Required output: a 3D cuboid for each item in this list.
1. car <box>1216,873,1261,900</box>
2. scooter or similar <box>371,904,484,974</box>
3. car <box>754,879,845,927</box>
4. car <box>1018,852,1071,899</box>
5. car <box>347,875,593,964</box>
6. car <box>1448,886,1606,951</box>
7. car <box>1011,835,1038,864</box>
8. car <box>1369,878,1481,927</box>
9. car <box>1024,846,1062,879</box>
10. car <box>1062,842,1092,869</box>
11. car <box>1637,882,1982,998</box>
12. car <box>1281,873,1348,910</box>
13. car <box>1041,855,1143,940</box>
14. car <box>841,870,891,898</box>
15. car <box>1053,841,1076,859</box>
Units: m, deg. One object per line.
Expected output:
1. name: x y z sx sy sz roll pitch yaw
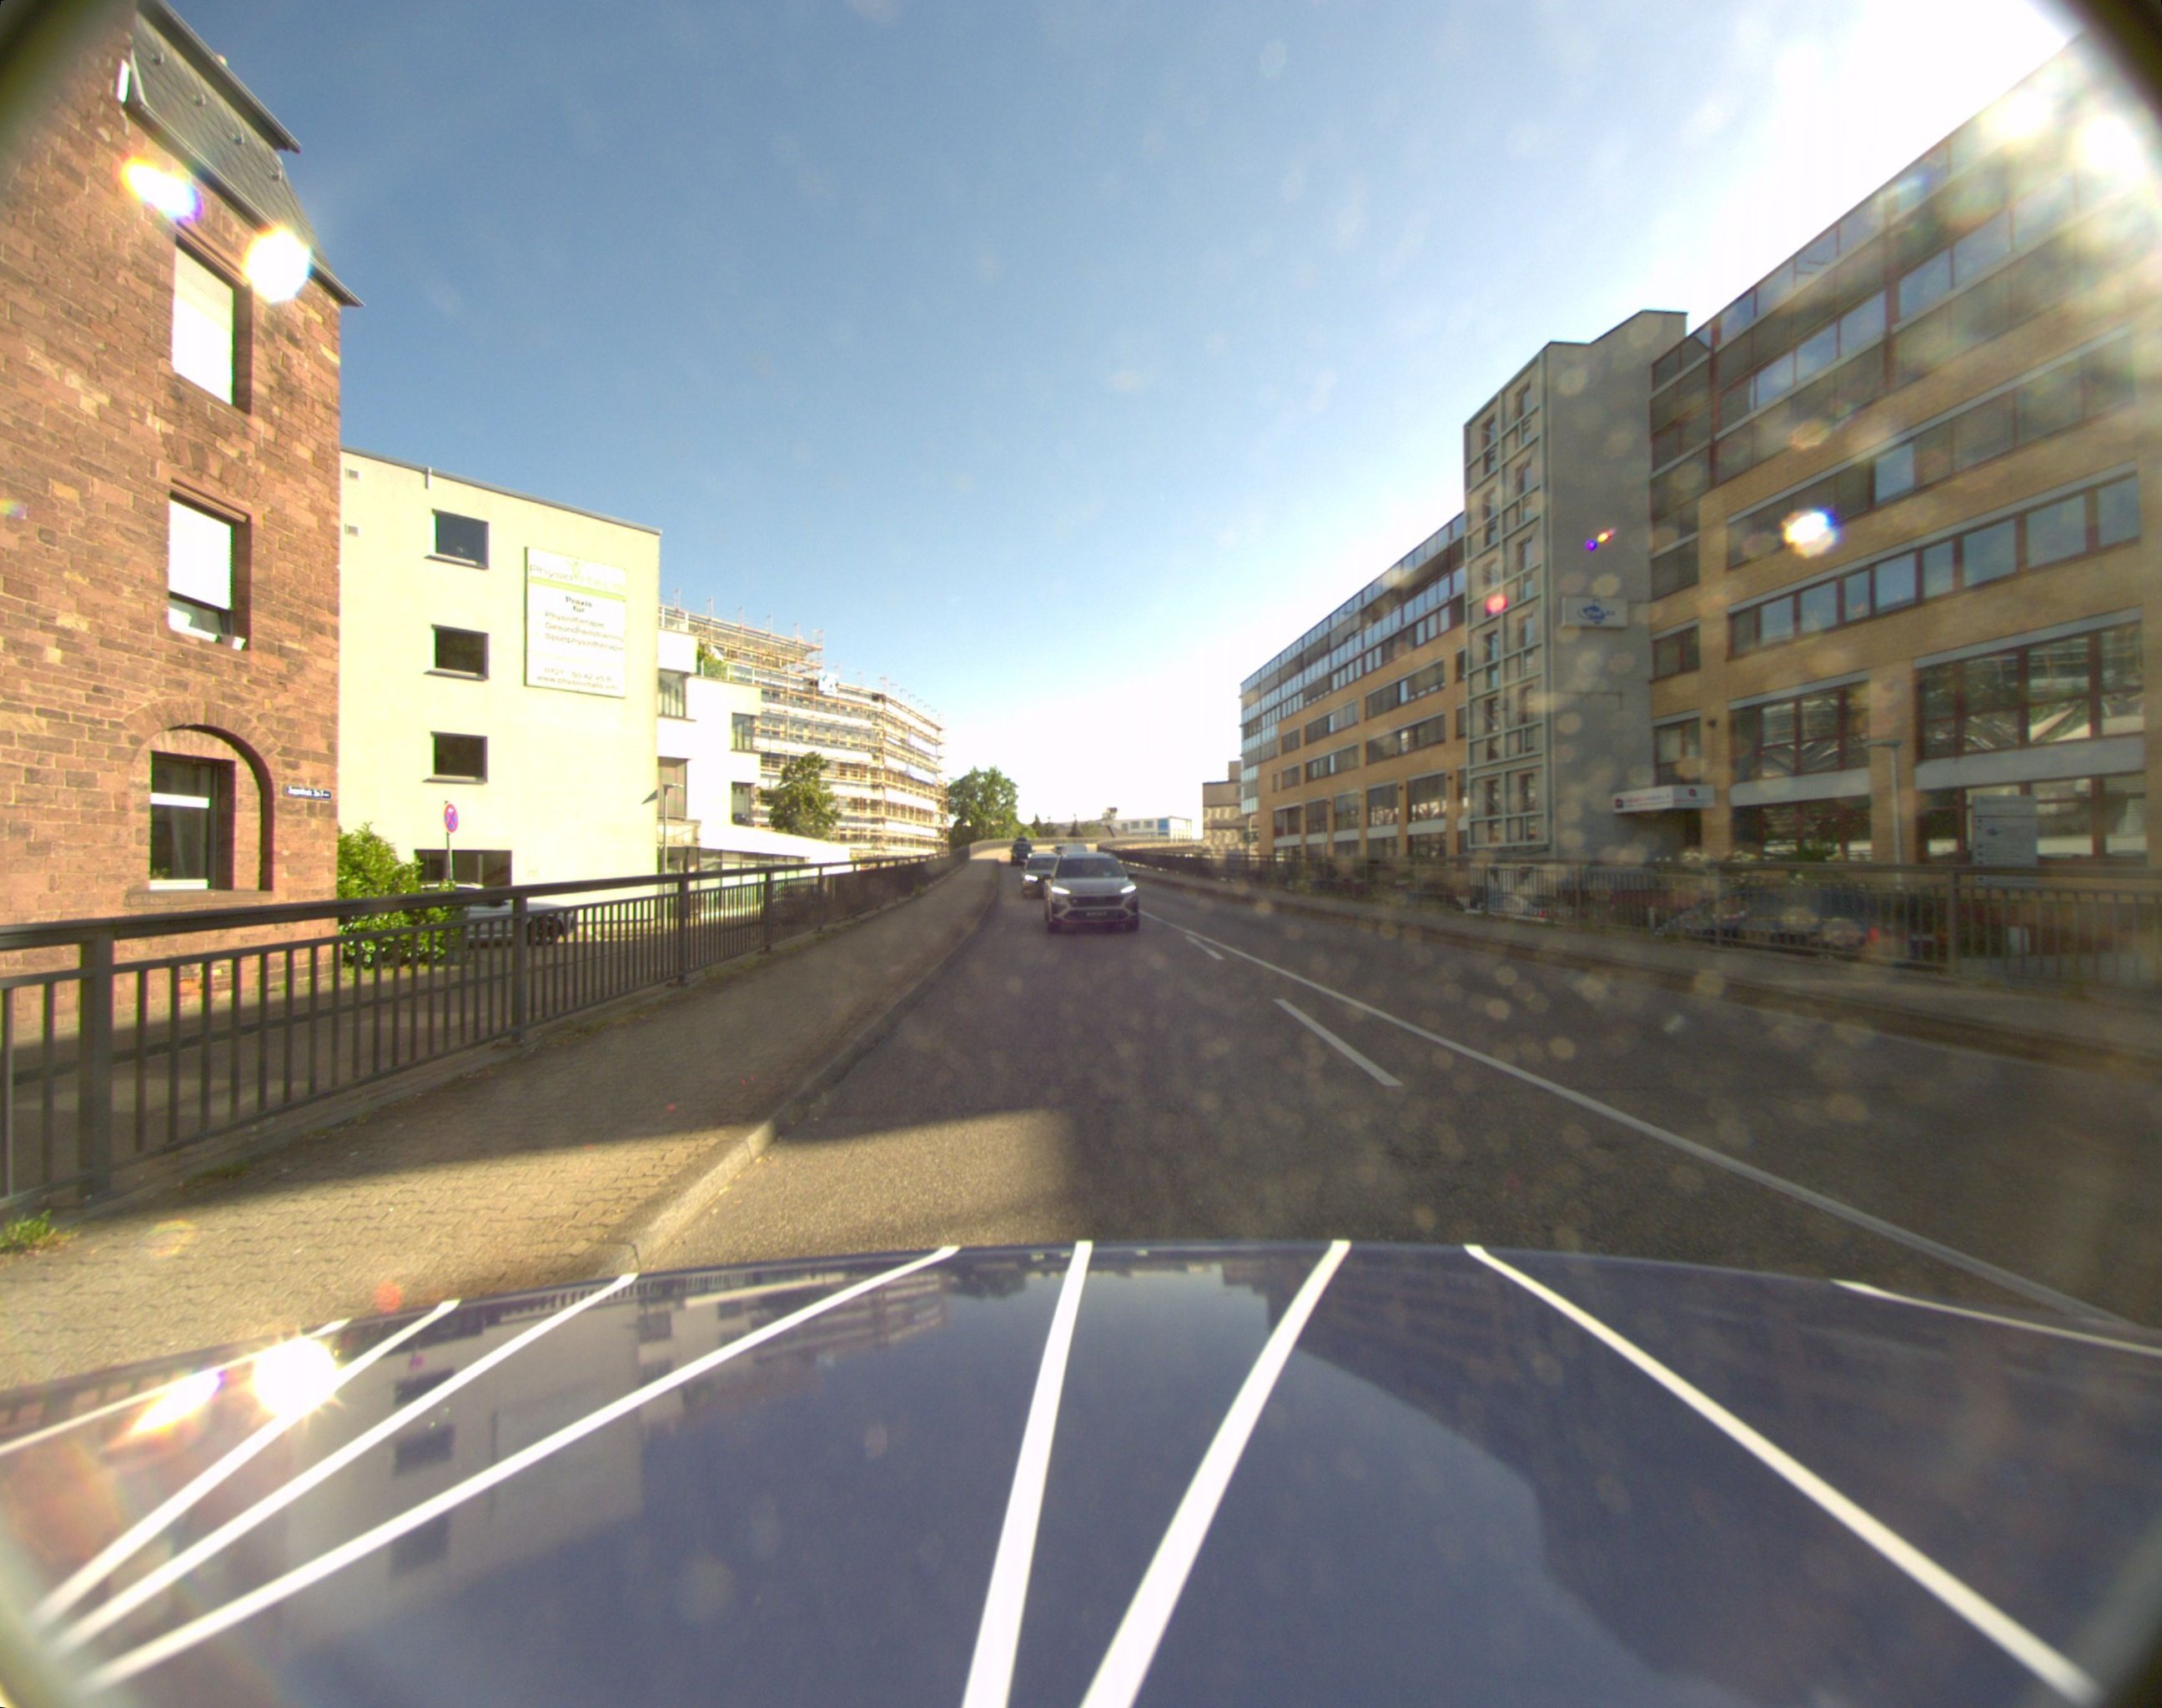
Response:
1. car: 10.351 2.090 50.233 1.999 1.652 3.999 0 -1 -3
2. scooter or similar: -12.911 1.661 15.054 1.462 1.212 0.785 -3 0 -10
3. car: -10.653 1.801 29.156 1.849 1.422 4.680 -1 1 -2
4. car: -1.325 0.711 27.338 1.721 1.483 4.167 -1 1 -3
5. car: -15.318 1.525 19.259 4.658 1.757 1.823 -2 2 -43
6. car: 13.053 1.819 22.584 1.826 1.594 4.355 0 -1 -6
7. car: -4.605 -0.361 61.170 1.911 2.201 4.595 -1 1 -7
8. car: 12.614 1.728 28.168 1.826 1.594 4.355 0 -1 -6
9. car: -2.014 0.401 39.765 1.850 1.527 4.505 -1 1 -4
10. car: -0.308 0.113 53.483 1.815 1.790 5.119 0 -1 -4
11. car: 13.818 1.497 14.925 1.957 1.747 4.685 -1 -1 -7
12. car: 11.706 1.859 38.320 1.999 1.714 3.999 0 -1 -3
13. car: 0.100 0.813 16.434 1.850 1.561 4.219 -1 0 -4
14. car: -12.128 1.662 43.056 1.849 1.526 3.999 0 -1 -3
15. car: -1.535 -0.368 69.712 1.825 1.594 3.997 -1 0 -6
